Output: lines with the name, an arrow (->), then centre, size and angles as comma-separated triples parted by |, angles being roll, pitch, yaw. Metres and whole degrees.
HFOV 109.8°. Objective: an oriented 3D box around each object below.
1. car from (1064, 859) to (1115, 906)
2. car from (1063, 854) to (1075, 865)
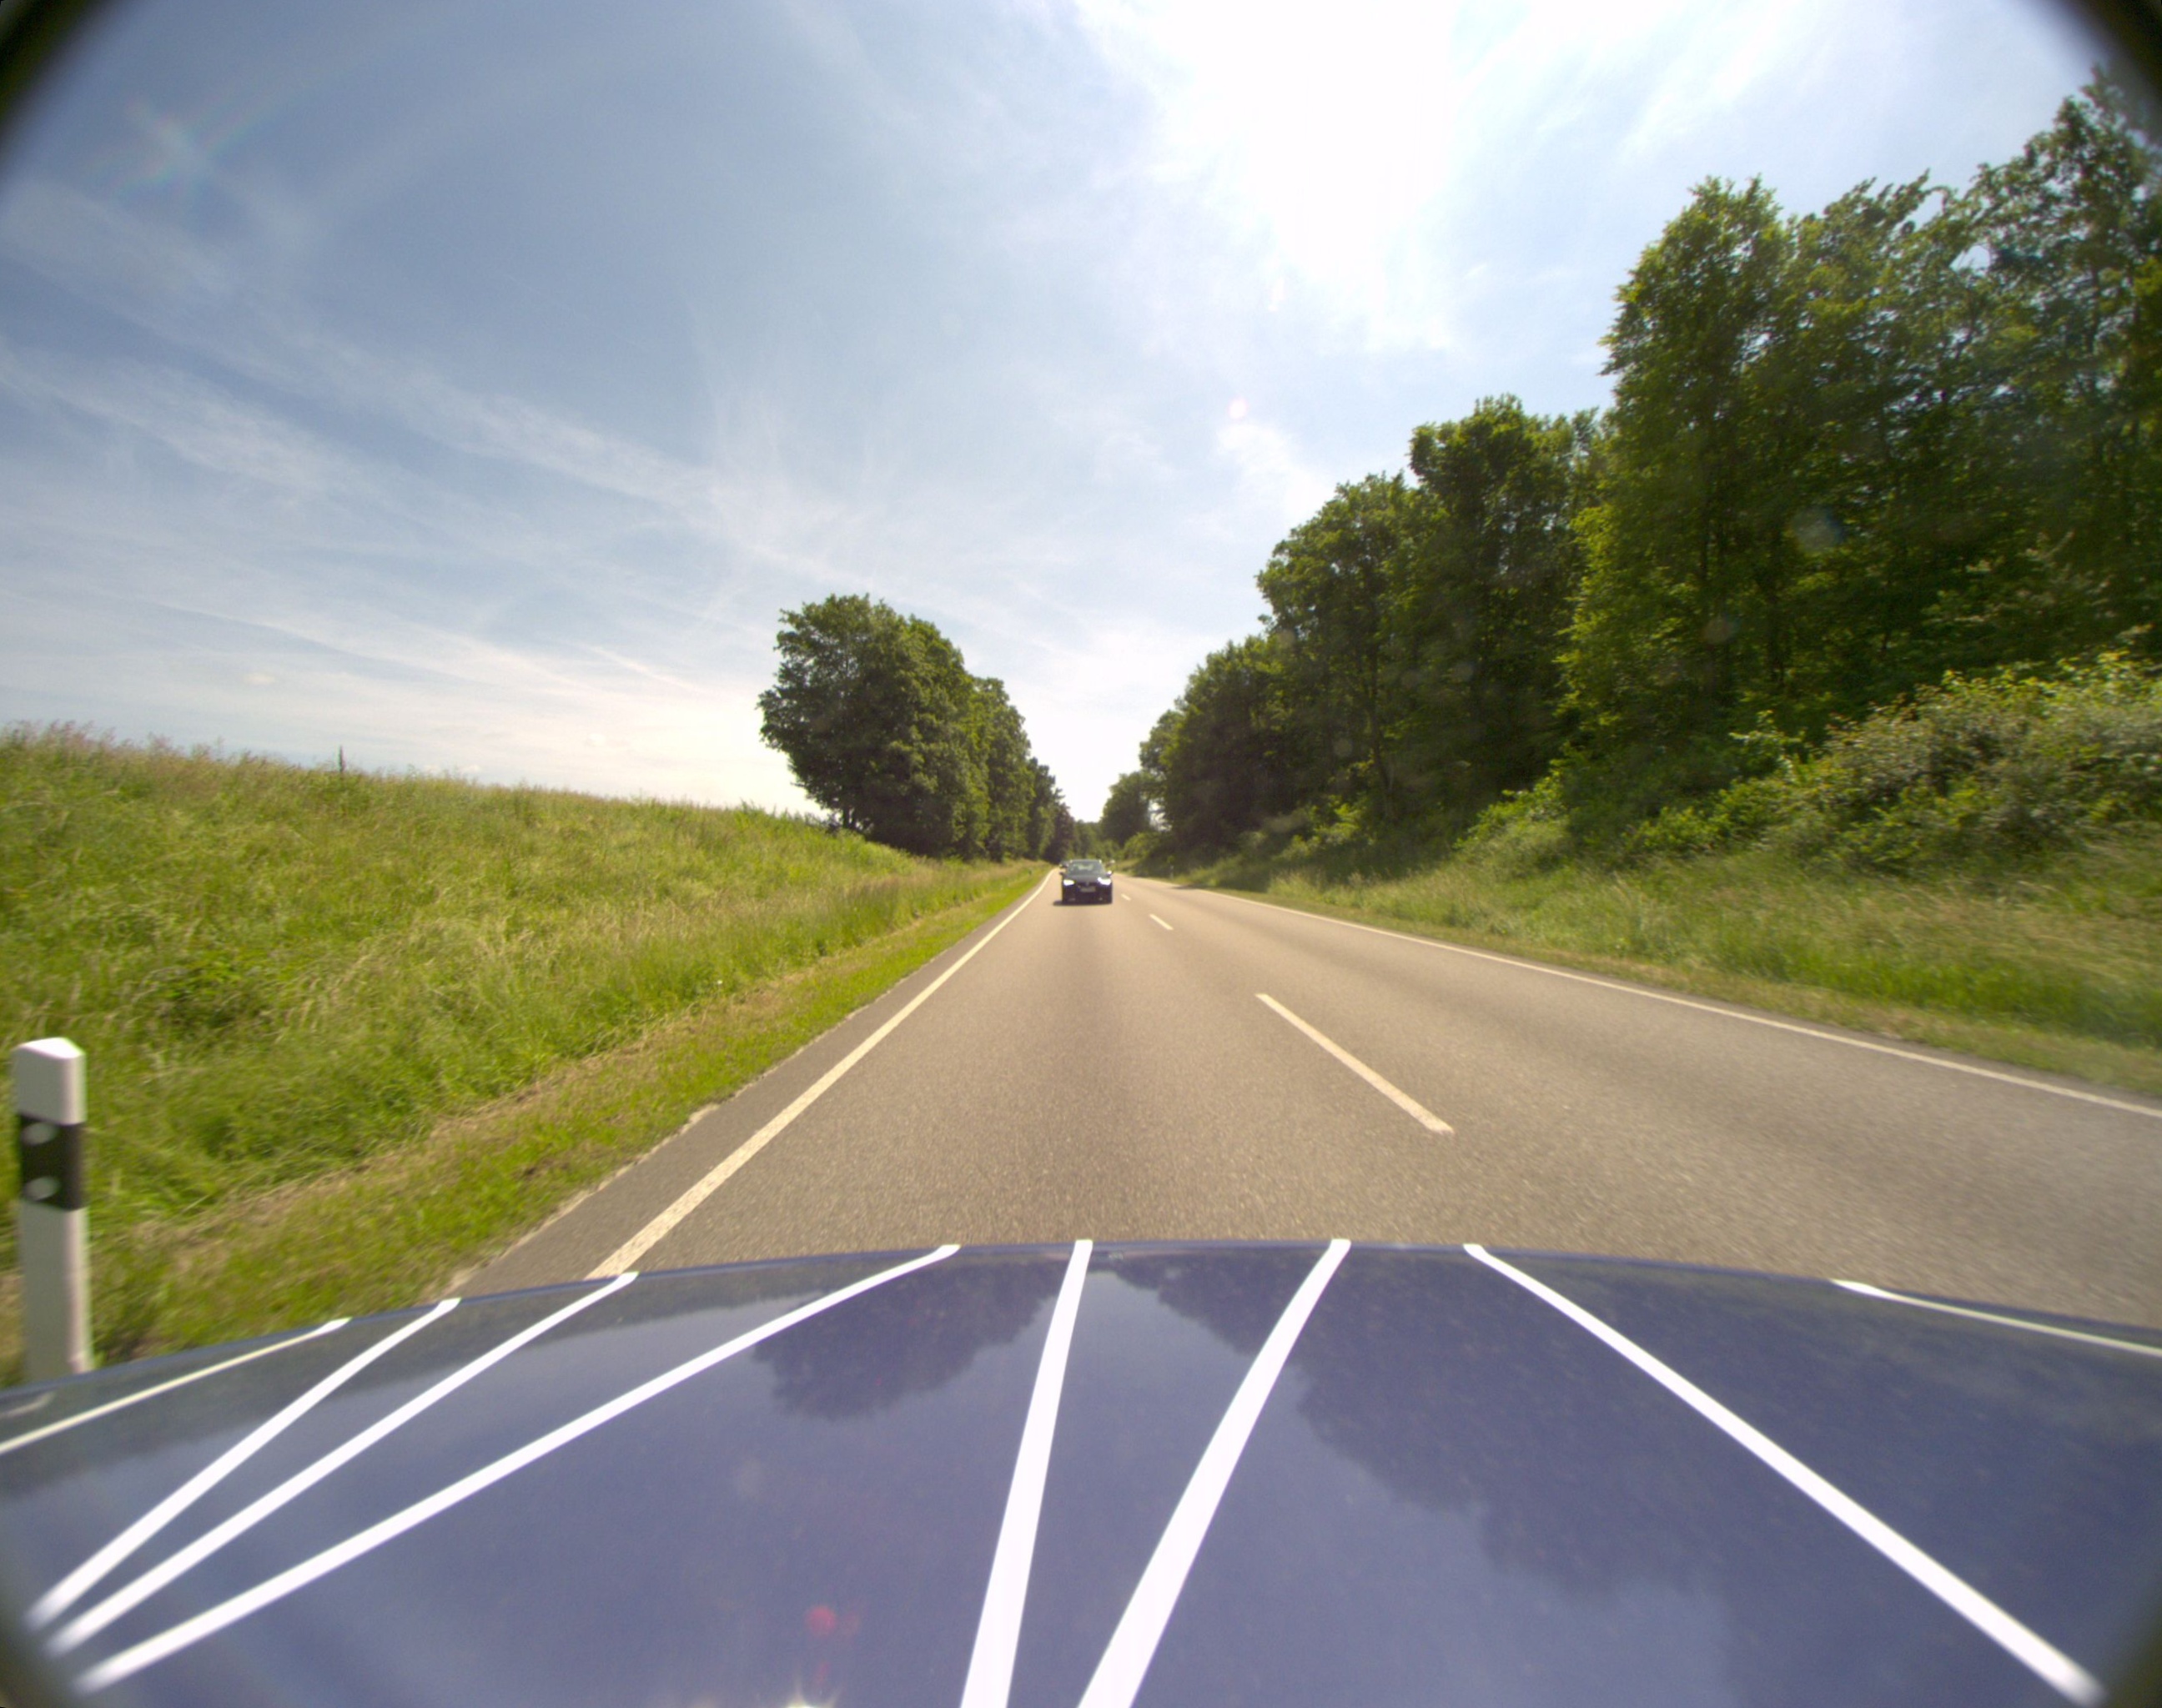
car -> 0.249, 0.961, 26.977 | 1.662, 1.531, 3.486 | -1, 0, -1
car -> -2.175, 0.951, 133.976 | 1.998, 2.002, 4.000 | -1, 0, 1
